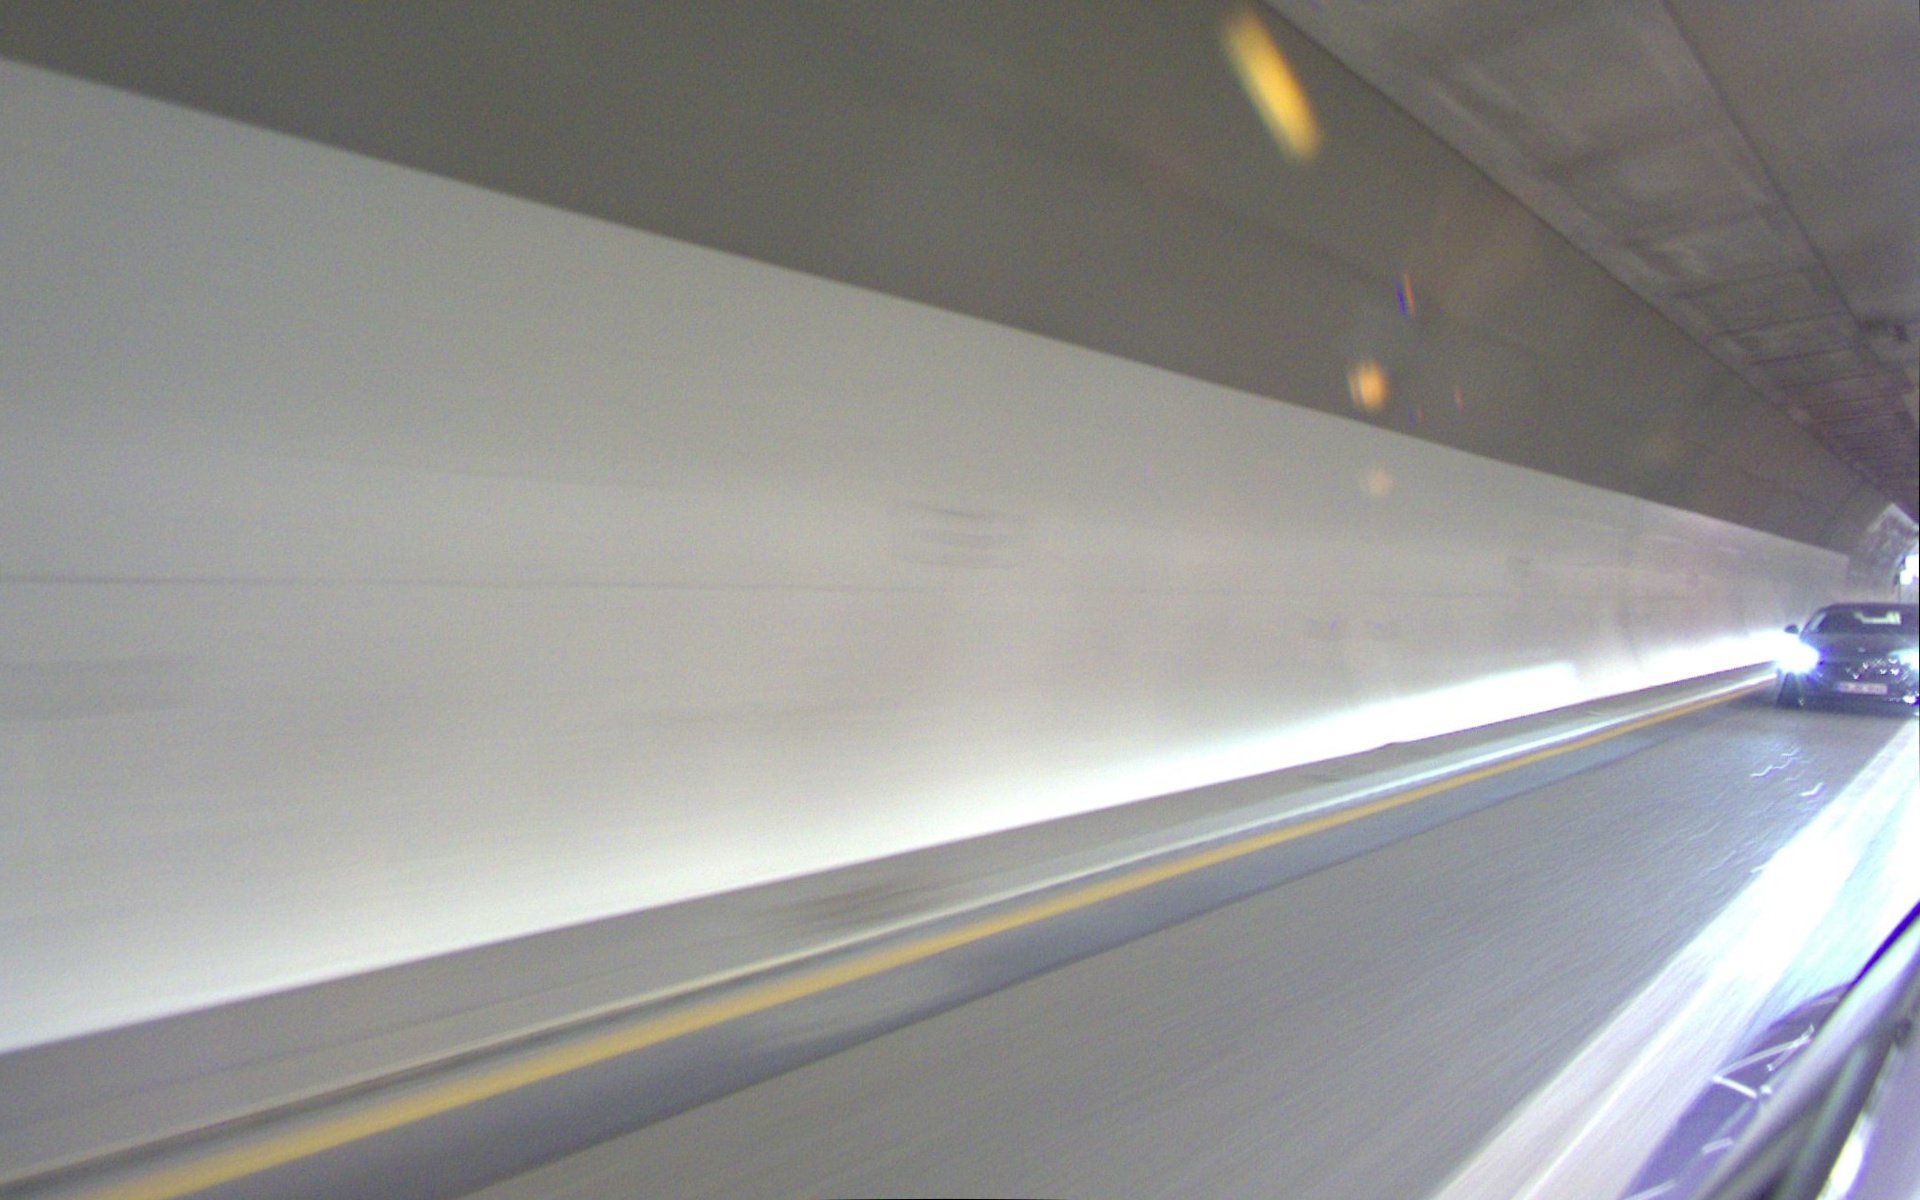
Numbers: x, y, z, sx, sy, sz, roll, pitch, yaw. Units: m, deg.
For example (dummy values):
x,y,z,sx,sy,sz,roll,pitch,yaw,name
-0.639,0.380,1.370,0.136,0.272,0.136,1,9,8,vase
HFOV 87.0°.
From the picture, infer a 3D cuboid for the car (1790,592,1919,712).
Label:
x,y,z,sx,sy,sz,roll,pitch,yaw,name
13.365,0.648,14.481,4.447,1.496,1.822,0,0,-44,car
